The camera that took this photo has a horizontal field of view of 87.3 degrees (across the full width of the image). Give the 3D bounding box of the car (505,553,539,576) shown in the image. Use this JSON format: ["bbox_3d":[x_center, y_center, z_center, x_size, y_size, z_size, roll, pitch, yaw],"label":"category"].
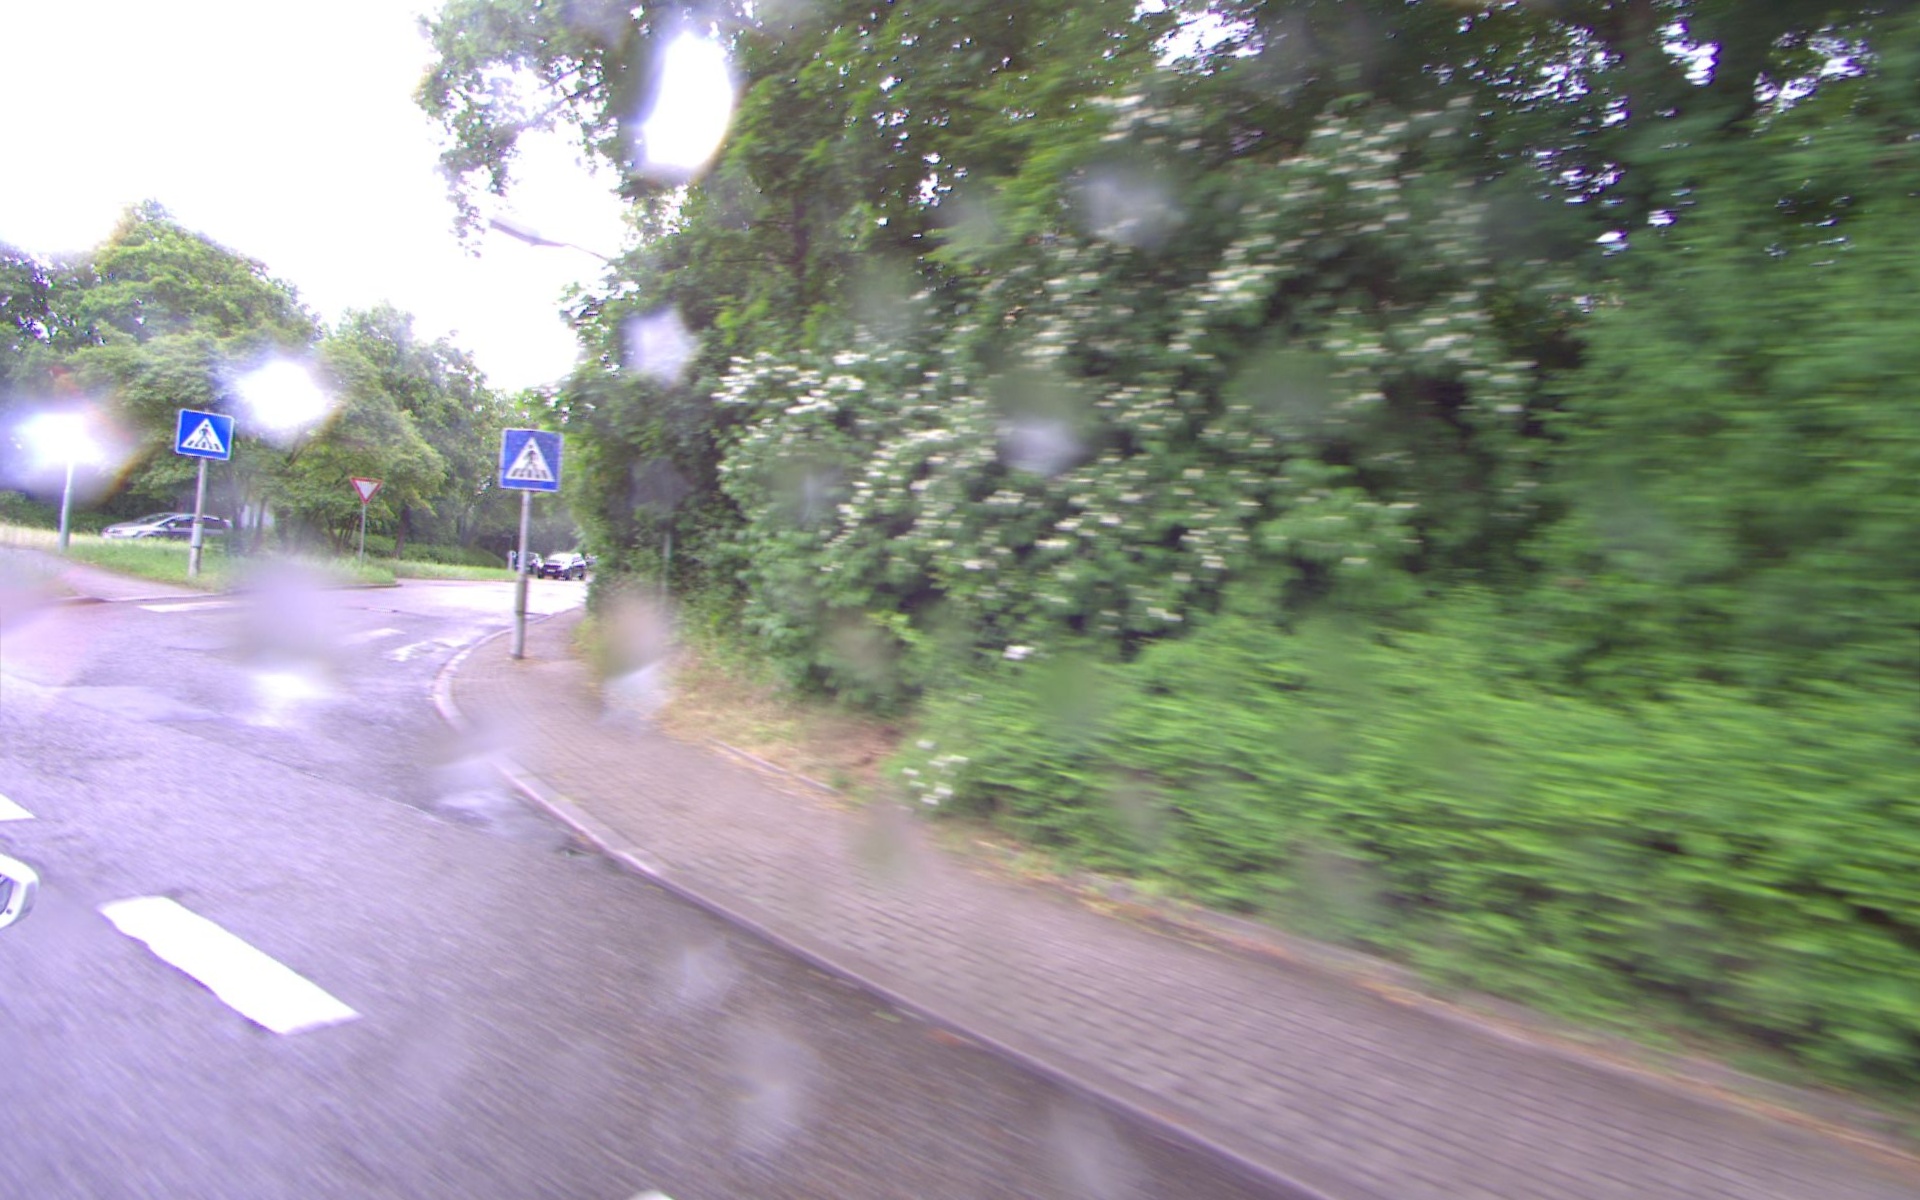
[{"bbox_3d":[-30.821,-2.510,70.890,1.651,1.387,3.478,7,0,-16],"label":"car"}]

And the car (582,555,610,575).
[{"bbox_3d":[-35.026,-3.317,96.895,1.874,1.466,4.286,8,-2,-13],"label":"car"}]

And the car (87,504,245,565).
[{"bbox_3d":[-28.368,-2.308,36.092,1.716,1.622,4.029,7,0,22],"label":"car"}]

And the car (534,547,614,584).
[{"bbox_3d":[-24.232,-2.138,63.351,1.963,1.738,4.717,7,0,20],"label":"car"}]

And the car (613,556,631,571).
[{"bbox_3d":[-42.613,-4.595,126.823,1.968,1.463,4.278,8,-2,-19],"label":"car"}]
